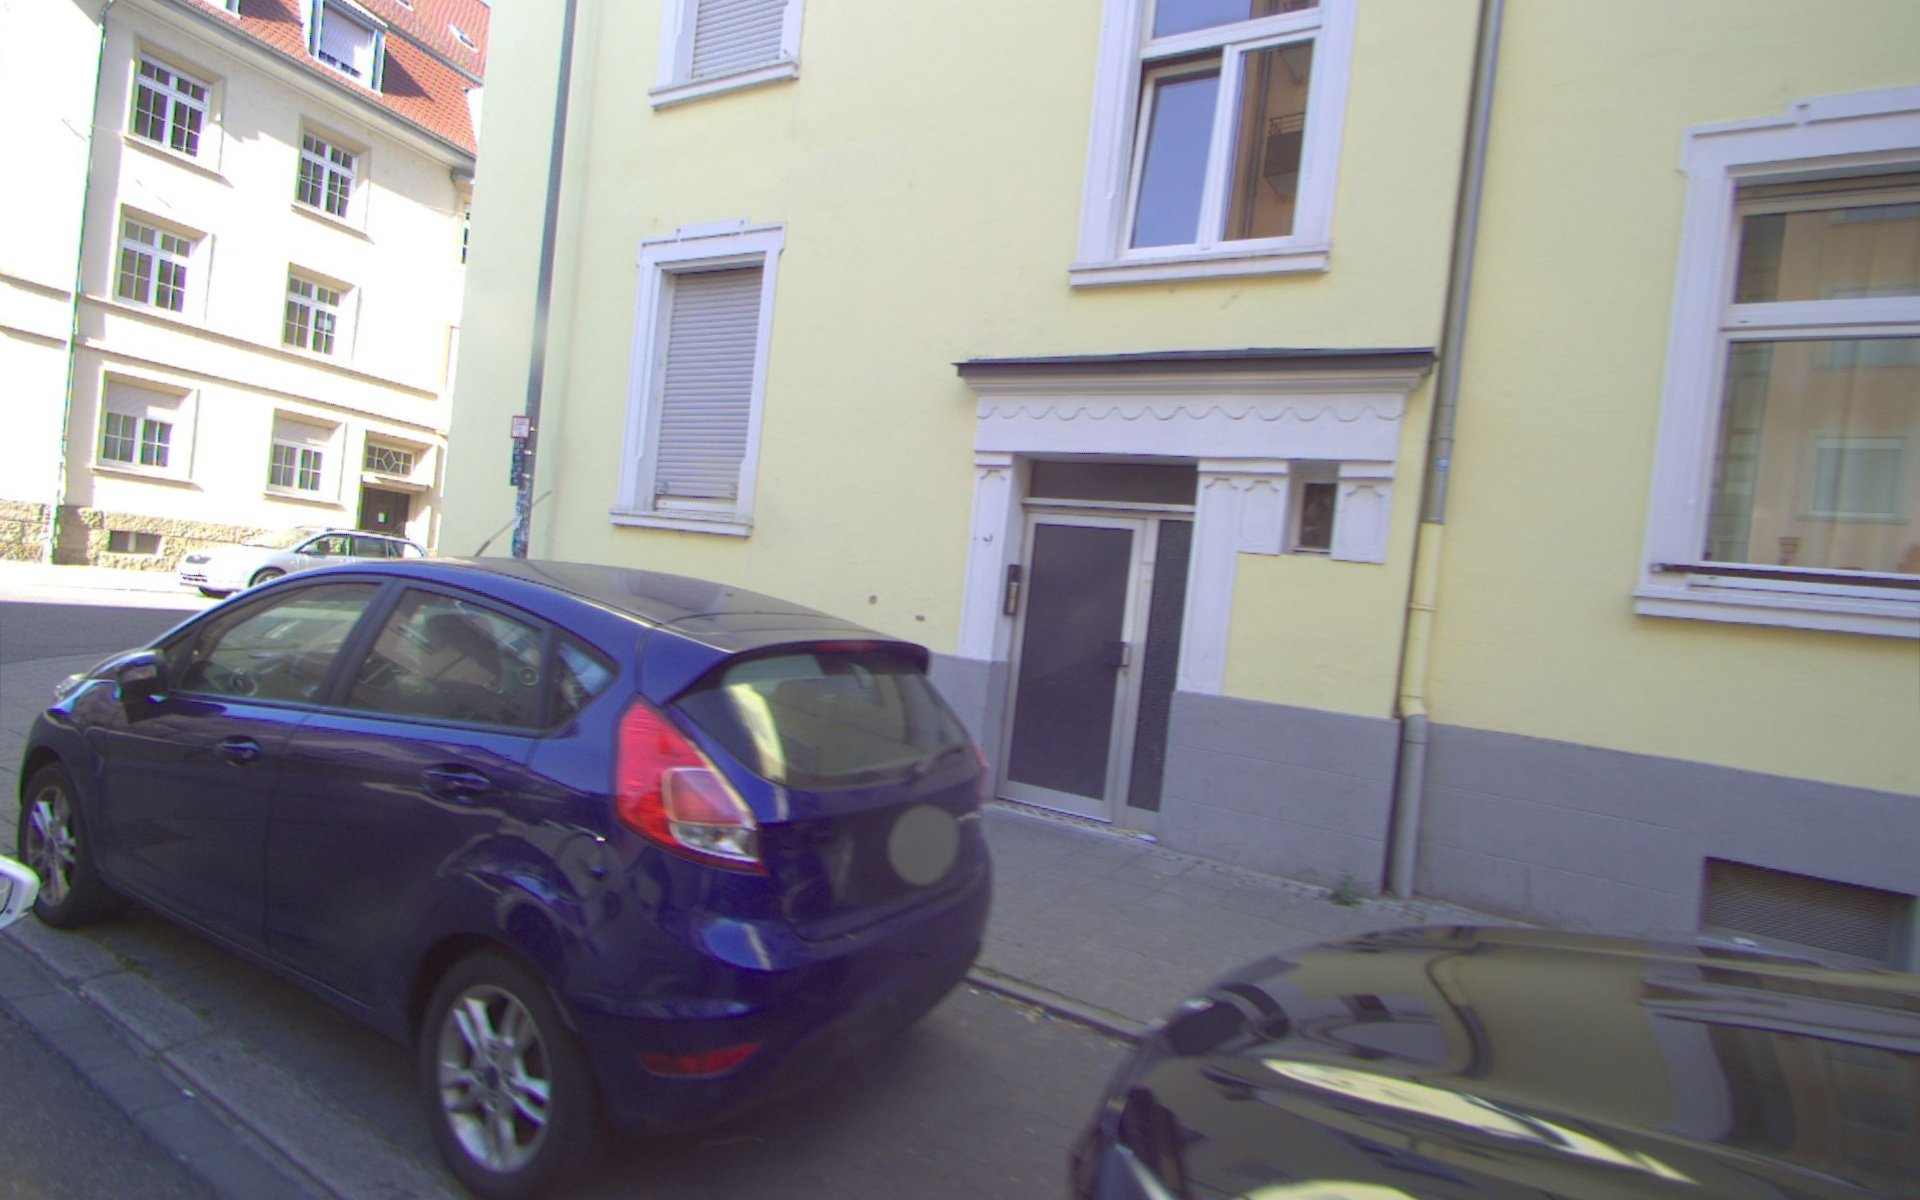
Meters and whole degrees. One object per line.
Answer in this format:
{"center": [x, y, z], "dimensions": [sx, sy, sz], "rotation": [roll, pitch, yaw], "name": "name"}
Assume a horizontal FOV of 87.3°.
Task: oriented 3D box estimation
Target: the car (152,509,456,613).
{"center": [-12.268, -0.654, 19.201], "dimensions": [1.796, 1.486, 4.549], "rotation": [5, -1, 24], "name": "car"}

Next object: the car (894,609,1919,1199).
{"center": [2.504, 1.035, 0.864], "dimensions": [5.026, 1.490, 1.801], "rotation": [7, 3, 31], "name": "car"}

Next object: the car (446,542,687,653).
{"center": [-6.658, 0.031, 17.416], "dimensions": [1.662, 1.486, 3.631], "rotation": [9, 1, 24], "name": "car"}

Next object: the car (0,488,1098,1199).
{"center": [-1.759, 0.523, 3.662], "dimensions": [4.013, 1.491, 1.764], "rotation": [7, 3, 28], "name": "car"}
